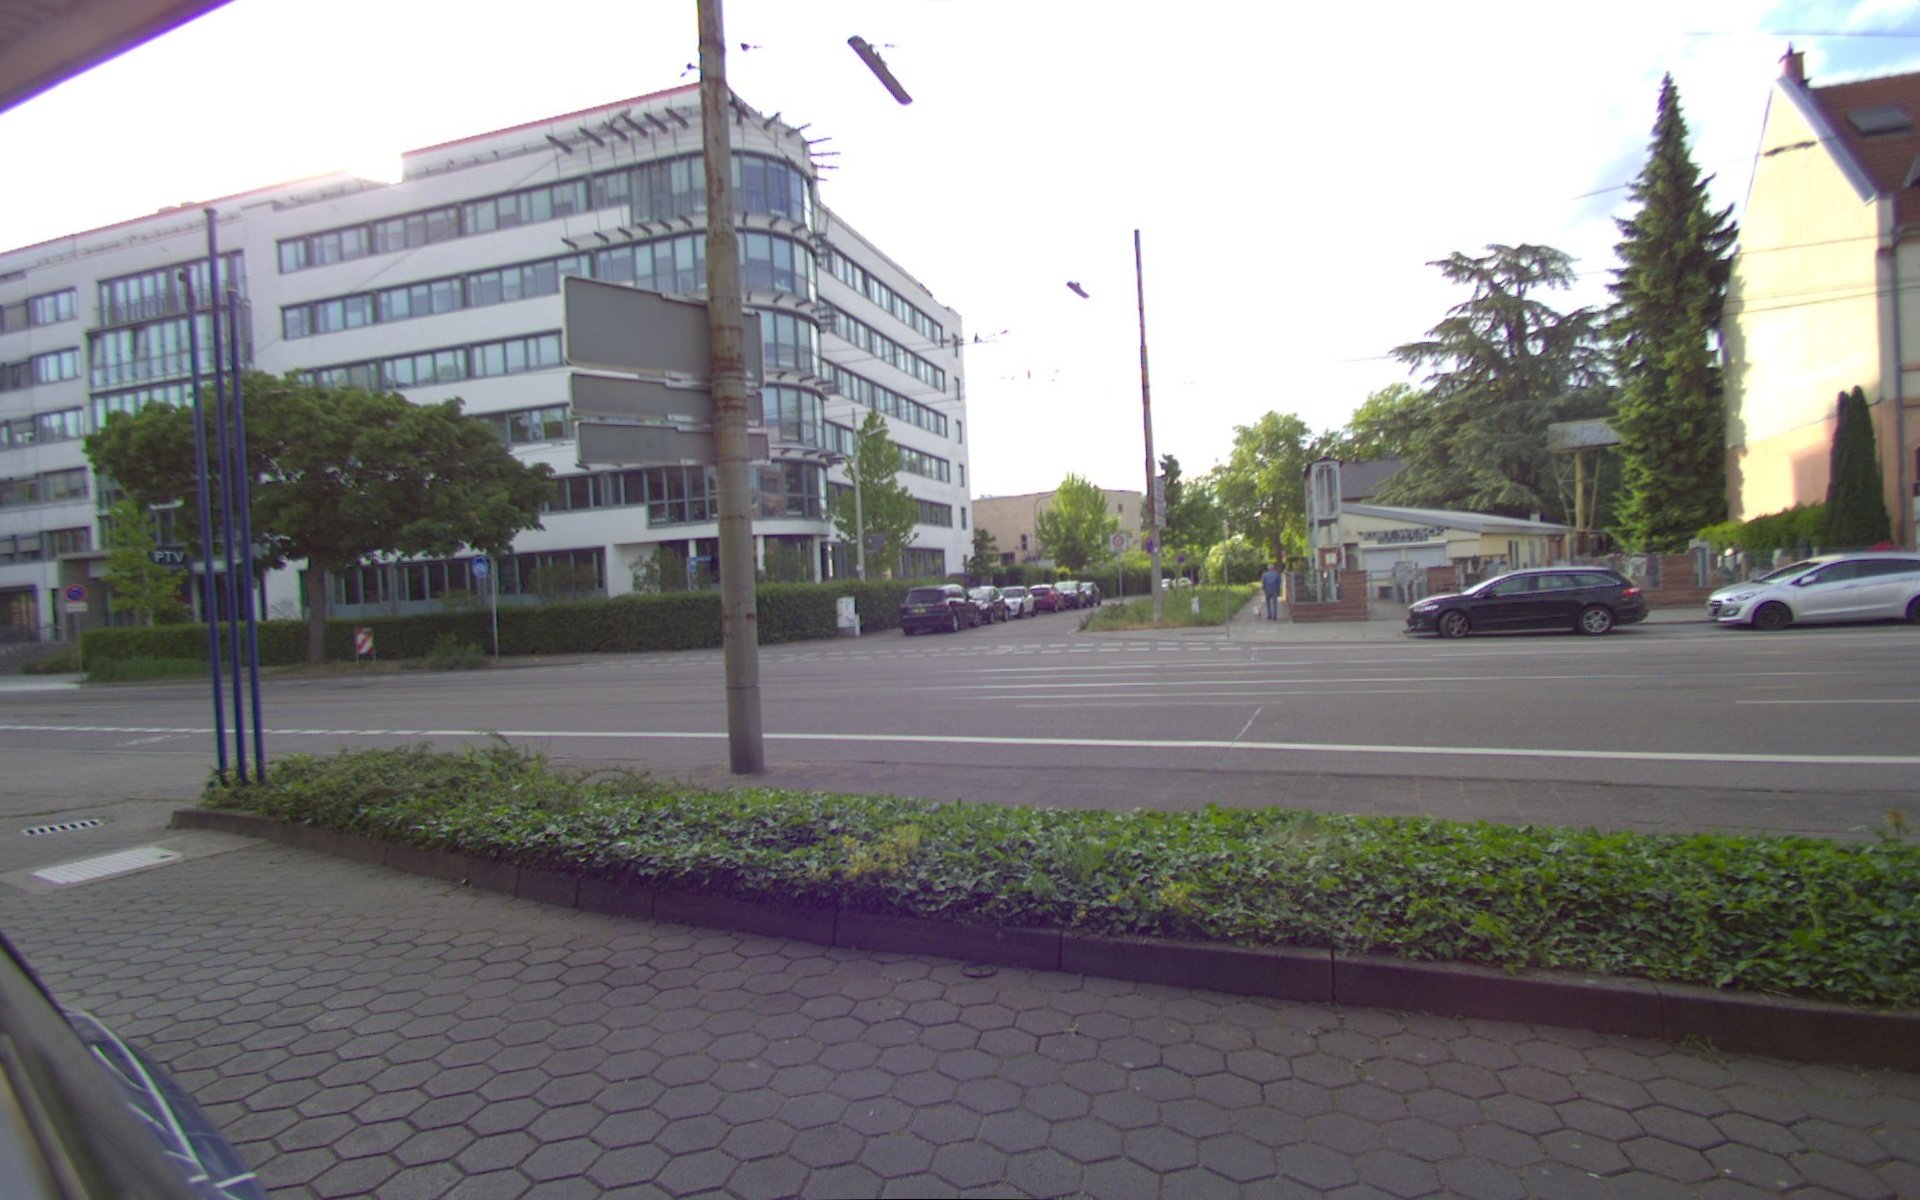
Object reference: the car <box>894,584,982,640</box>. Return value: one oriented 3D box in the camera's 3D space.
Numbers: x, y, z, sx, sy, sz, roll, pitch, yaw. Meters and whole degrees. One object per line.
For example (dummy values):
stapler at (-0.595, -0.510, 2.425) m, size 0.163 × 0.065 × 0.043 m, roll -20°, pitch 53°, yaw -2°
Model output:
car at (-0.690, 0.363, 35.566) m, size 1.807 × 1.701 × 4.370 m, roll -4°, pitch 1°, yaw 16°

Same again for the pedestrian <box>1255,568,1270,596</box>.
pedestrian at (21.065, -1.245, 70.423) m, size 0.965 × 1.896 × 1.056 m, roll -1°, pitch 0°, yaw 18°

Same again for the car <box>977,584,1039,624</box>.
car at (2.221, 0.159, 45.685) m, size 1.807 × 1.589 × 4.175 m, roll -4°, pitch 0°, yaw 16°

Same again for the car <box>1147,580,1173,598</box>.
car at (19.952, -1.119, 100.908) m, size 1.811 × 1.654 × 4.044 m, roll -4°, pitch 0°, yaw 22°

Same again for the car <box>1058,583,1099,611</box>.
car at (7.382, -0.203, 62.571) m, size 1.807 × 1.585 × 4.052 m, roll -4°, pitch 0°, yaw 16°

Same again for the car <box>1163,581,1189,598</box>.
car at (22.829, -1.139, 106.855) m, size 1.813 × 1.654 × 4.040 m, roll -4°, pitch 0°, yaw 25°

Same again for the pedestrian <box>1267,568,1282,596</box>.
pedestrian at (21.817, -1.255, 70.158) m, size 0.965 × 1.896 × 1.056 m, roll -1°, pitch 0°, yaw 18°

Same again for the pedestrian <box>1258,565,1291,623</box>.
pedestrian at (9.696, -0.187, 31.217) m, size 0.903 × 1.712 × 0.920 m, roll -2°, pitch 3°, yaw 19°

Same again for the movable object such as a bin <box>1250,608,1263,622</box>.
movable object such as a bin at (9.514, 0.476, 32.469) m, size 0.363 × 0.397 × 0.660 m, roll -2°, pitch 3°, yaw 16°

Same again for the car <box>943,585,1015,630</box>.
car at (0.828, 0.277, 40.981) m, size 1.807 × 1.589 × 4.175 m, roll -4°, pitch 0°, yaw 16°

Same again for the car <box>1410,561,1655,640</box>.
car at (13.011, 0.014, 23.368) m, size 4.632 × 1.533 × 1.842 m, roll -3°, pitch 2°, yaw 22°

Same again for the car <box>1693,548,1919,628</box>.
car at (18.405, -0.261, 21.398) m, size 4.349 × 1.493 × 1.732 m, roll -3°, pitch 1°, yaw 22°

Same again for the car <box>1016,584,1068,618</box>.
car at (4.296, 0.031, 52.407) m, size 1.807 × 1.589 × 4.175 m, roll -4°, pitch 0°, yaw 16°

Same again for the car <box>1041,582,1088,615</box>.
car at (6.027, -0.127, 57.805) m, size 1.807 × 1.704 × 4.392 m, roll -4°, pitch 0°, yaw 16°
